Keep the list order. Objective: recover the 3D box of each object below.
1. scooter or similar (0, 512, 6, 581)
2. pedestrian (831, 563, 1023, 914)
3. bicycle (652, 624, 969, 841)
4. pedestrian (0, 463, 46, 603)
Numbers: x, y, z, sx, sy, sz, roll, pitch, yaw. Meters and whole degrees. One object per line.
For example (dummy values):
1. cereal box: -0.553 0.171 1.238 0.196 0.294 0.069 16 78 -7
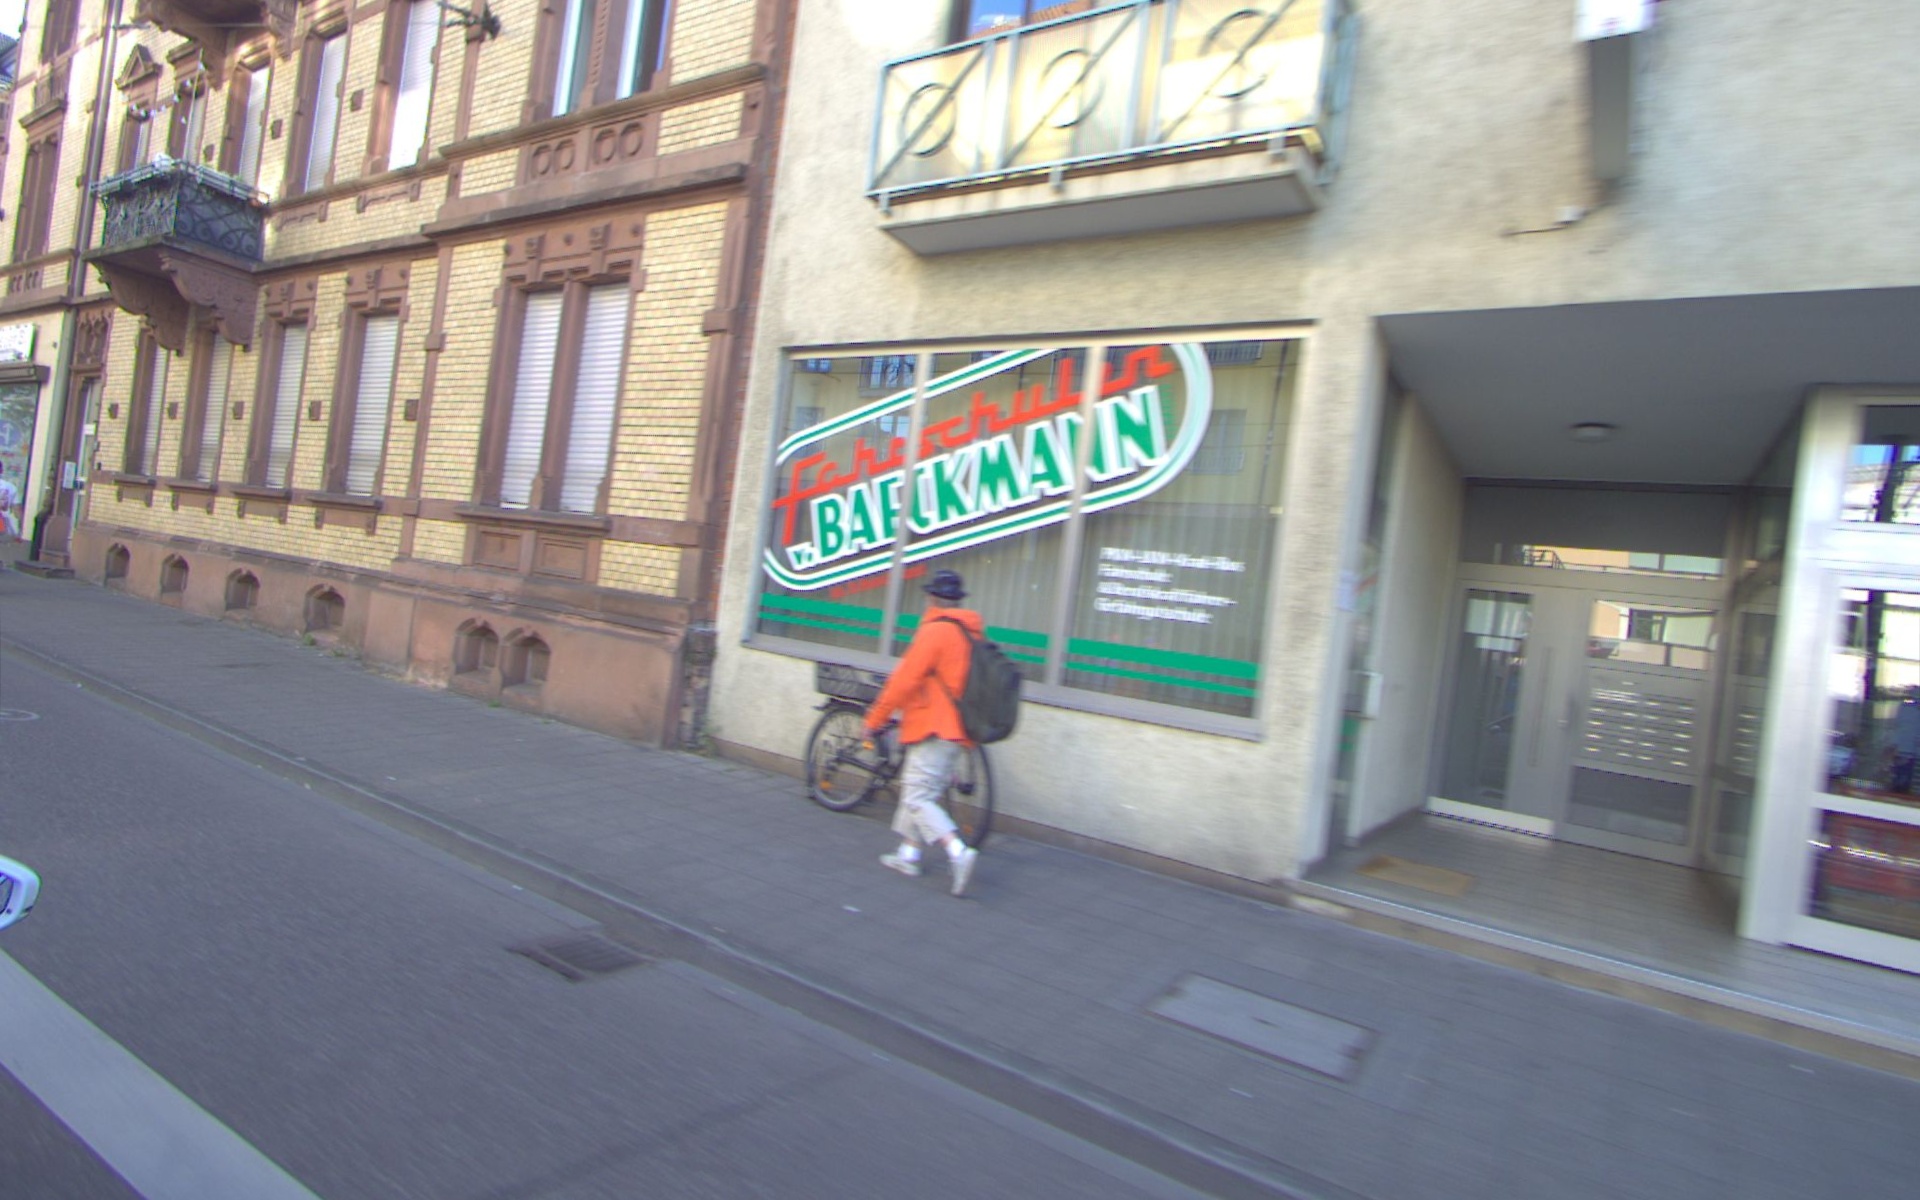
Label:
1. scooter or similar: -15.675 -0.887 15.839 0.513 1.084 0.805 6 2 34
2. pedestrian: -0.141 0.669 5.327 0.785 1.650 0.825 5 3 5
3. bicycle: -1.086 0.827 6.854 2.274 1.074 0.555 6 -1 35
4. pedestrian: -13.063 -0.939 13.522 1.074 1.823 0.805 7 2 32
